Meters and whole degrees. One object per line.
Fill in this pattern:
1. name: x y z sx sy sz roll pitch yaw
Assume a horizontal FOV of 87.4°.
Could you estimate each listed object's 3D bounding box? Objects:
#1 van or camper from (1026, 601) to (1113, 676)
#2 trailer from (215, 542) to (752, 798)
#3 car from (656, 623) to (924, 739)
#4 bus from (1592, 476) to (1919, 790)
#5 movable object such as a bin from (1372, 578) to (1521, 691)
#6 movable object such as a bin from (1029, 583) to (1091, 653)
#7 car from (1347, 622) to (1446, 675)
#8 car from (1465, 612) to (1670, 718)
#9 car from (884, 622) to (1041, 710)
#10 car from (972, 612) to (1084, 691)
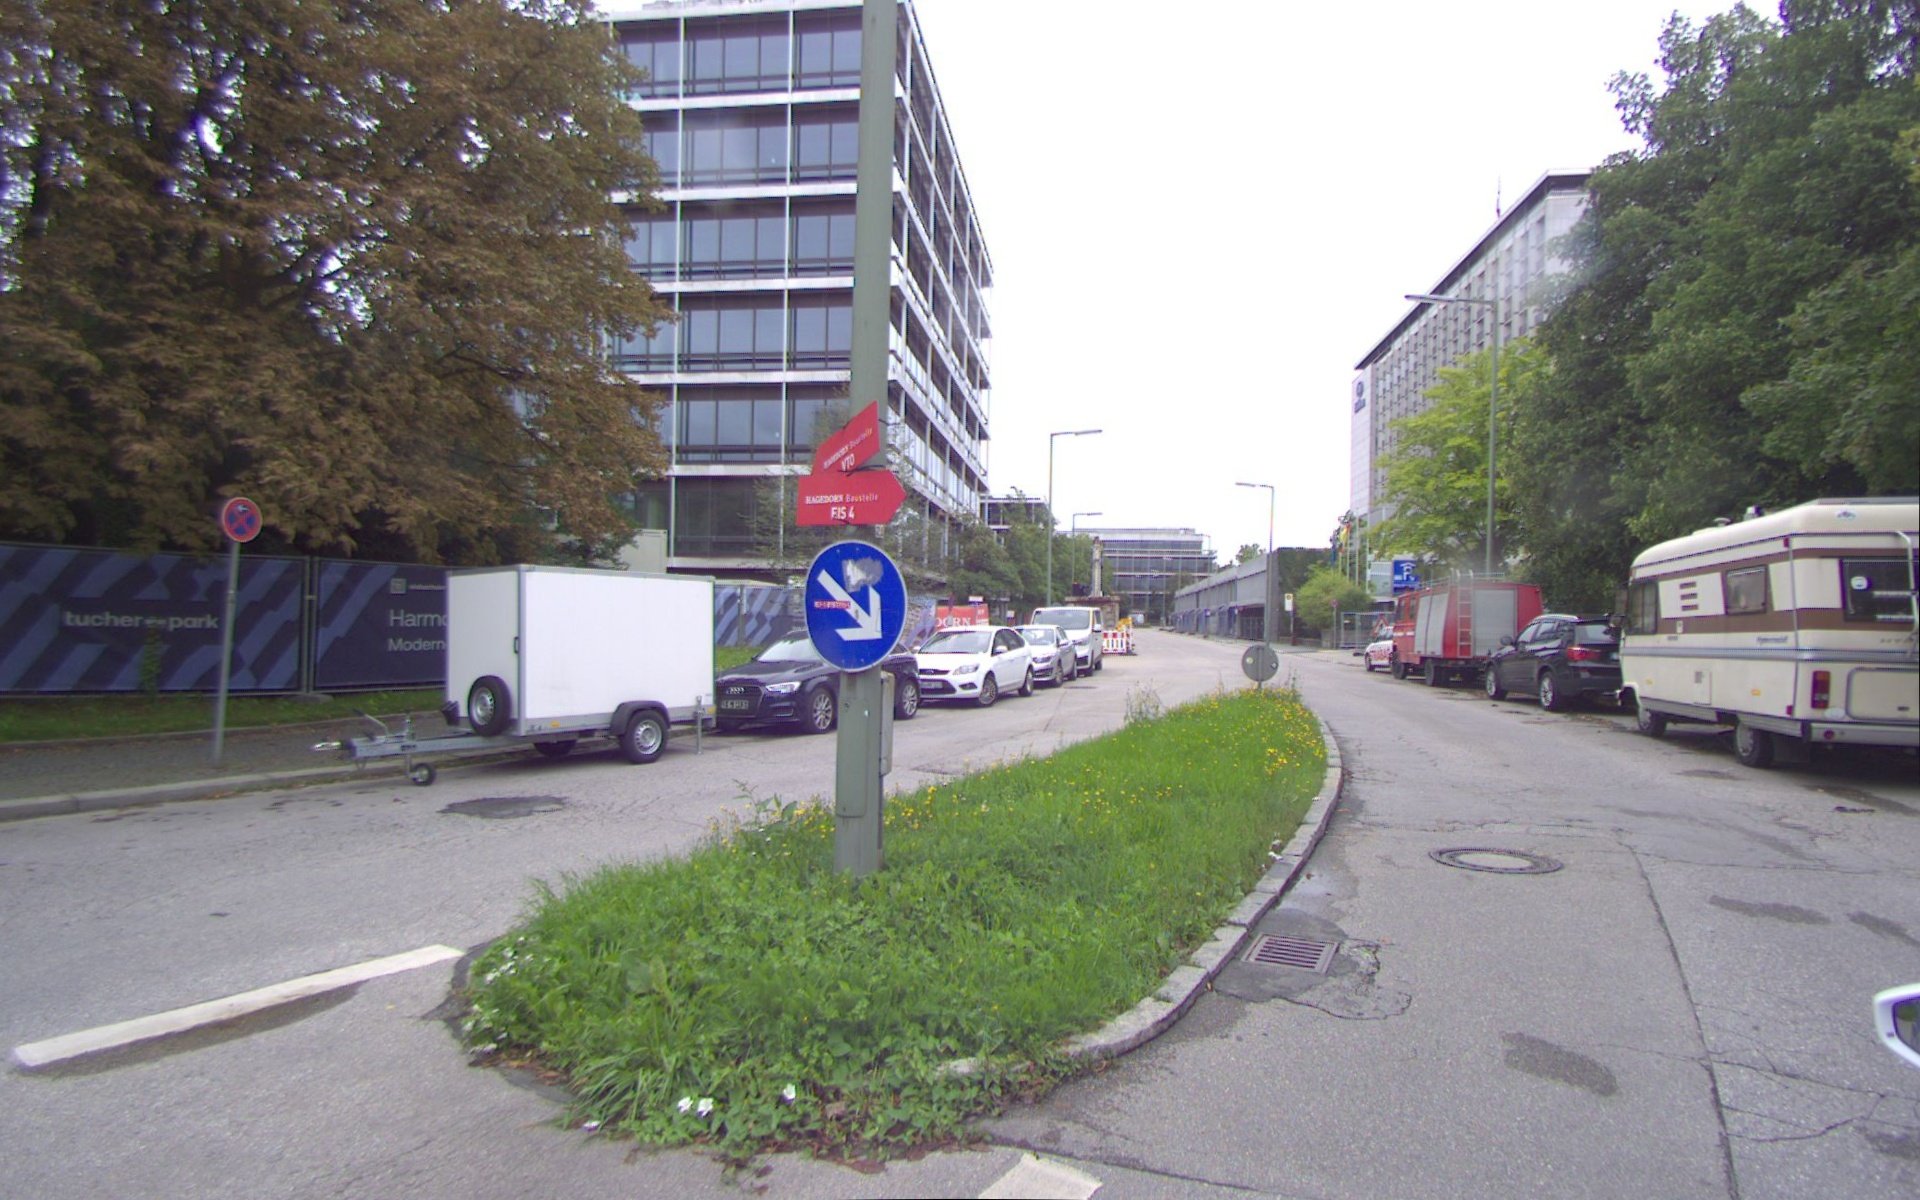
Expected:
1. van or camper: 3.428 1.099 30.573 1.959 2.040 5.379 1 0 13
2. trailer: -4.595 0.587 10.506 1.785 2.040 4.818 1 0 35
3. car: -2.323 1.082 15.008 1.842 1.456 4.325 0 -1 25
4. bus: 9.389 0.349 11.433 2.276 2.735 5.736 1 -1 17
5. movable object such as a bin: 12.068 0.821 25.421 2.068 2.491 6.190 1 -1 13
6. movable object such as a bin: 6.034 1.020 59.296 3.185 3.766 9.013 1 0 8
7. car: 14.169 1.518 32.844 1.746 1.570 4.260 1 -1 6
8. car: 10.908 1.087 18.431 1.745 1.671 4.463 1 -1 10
9. car: 0.174 1.212 19.891 1.737 1.506 4.221 1 -1 20
10. car: 1.810 1.191 25.016 1.960 1.751 4.452 1 0 15
